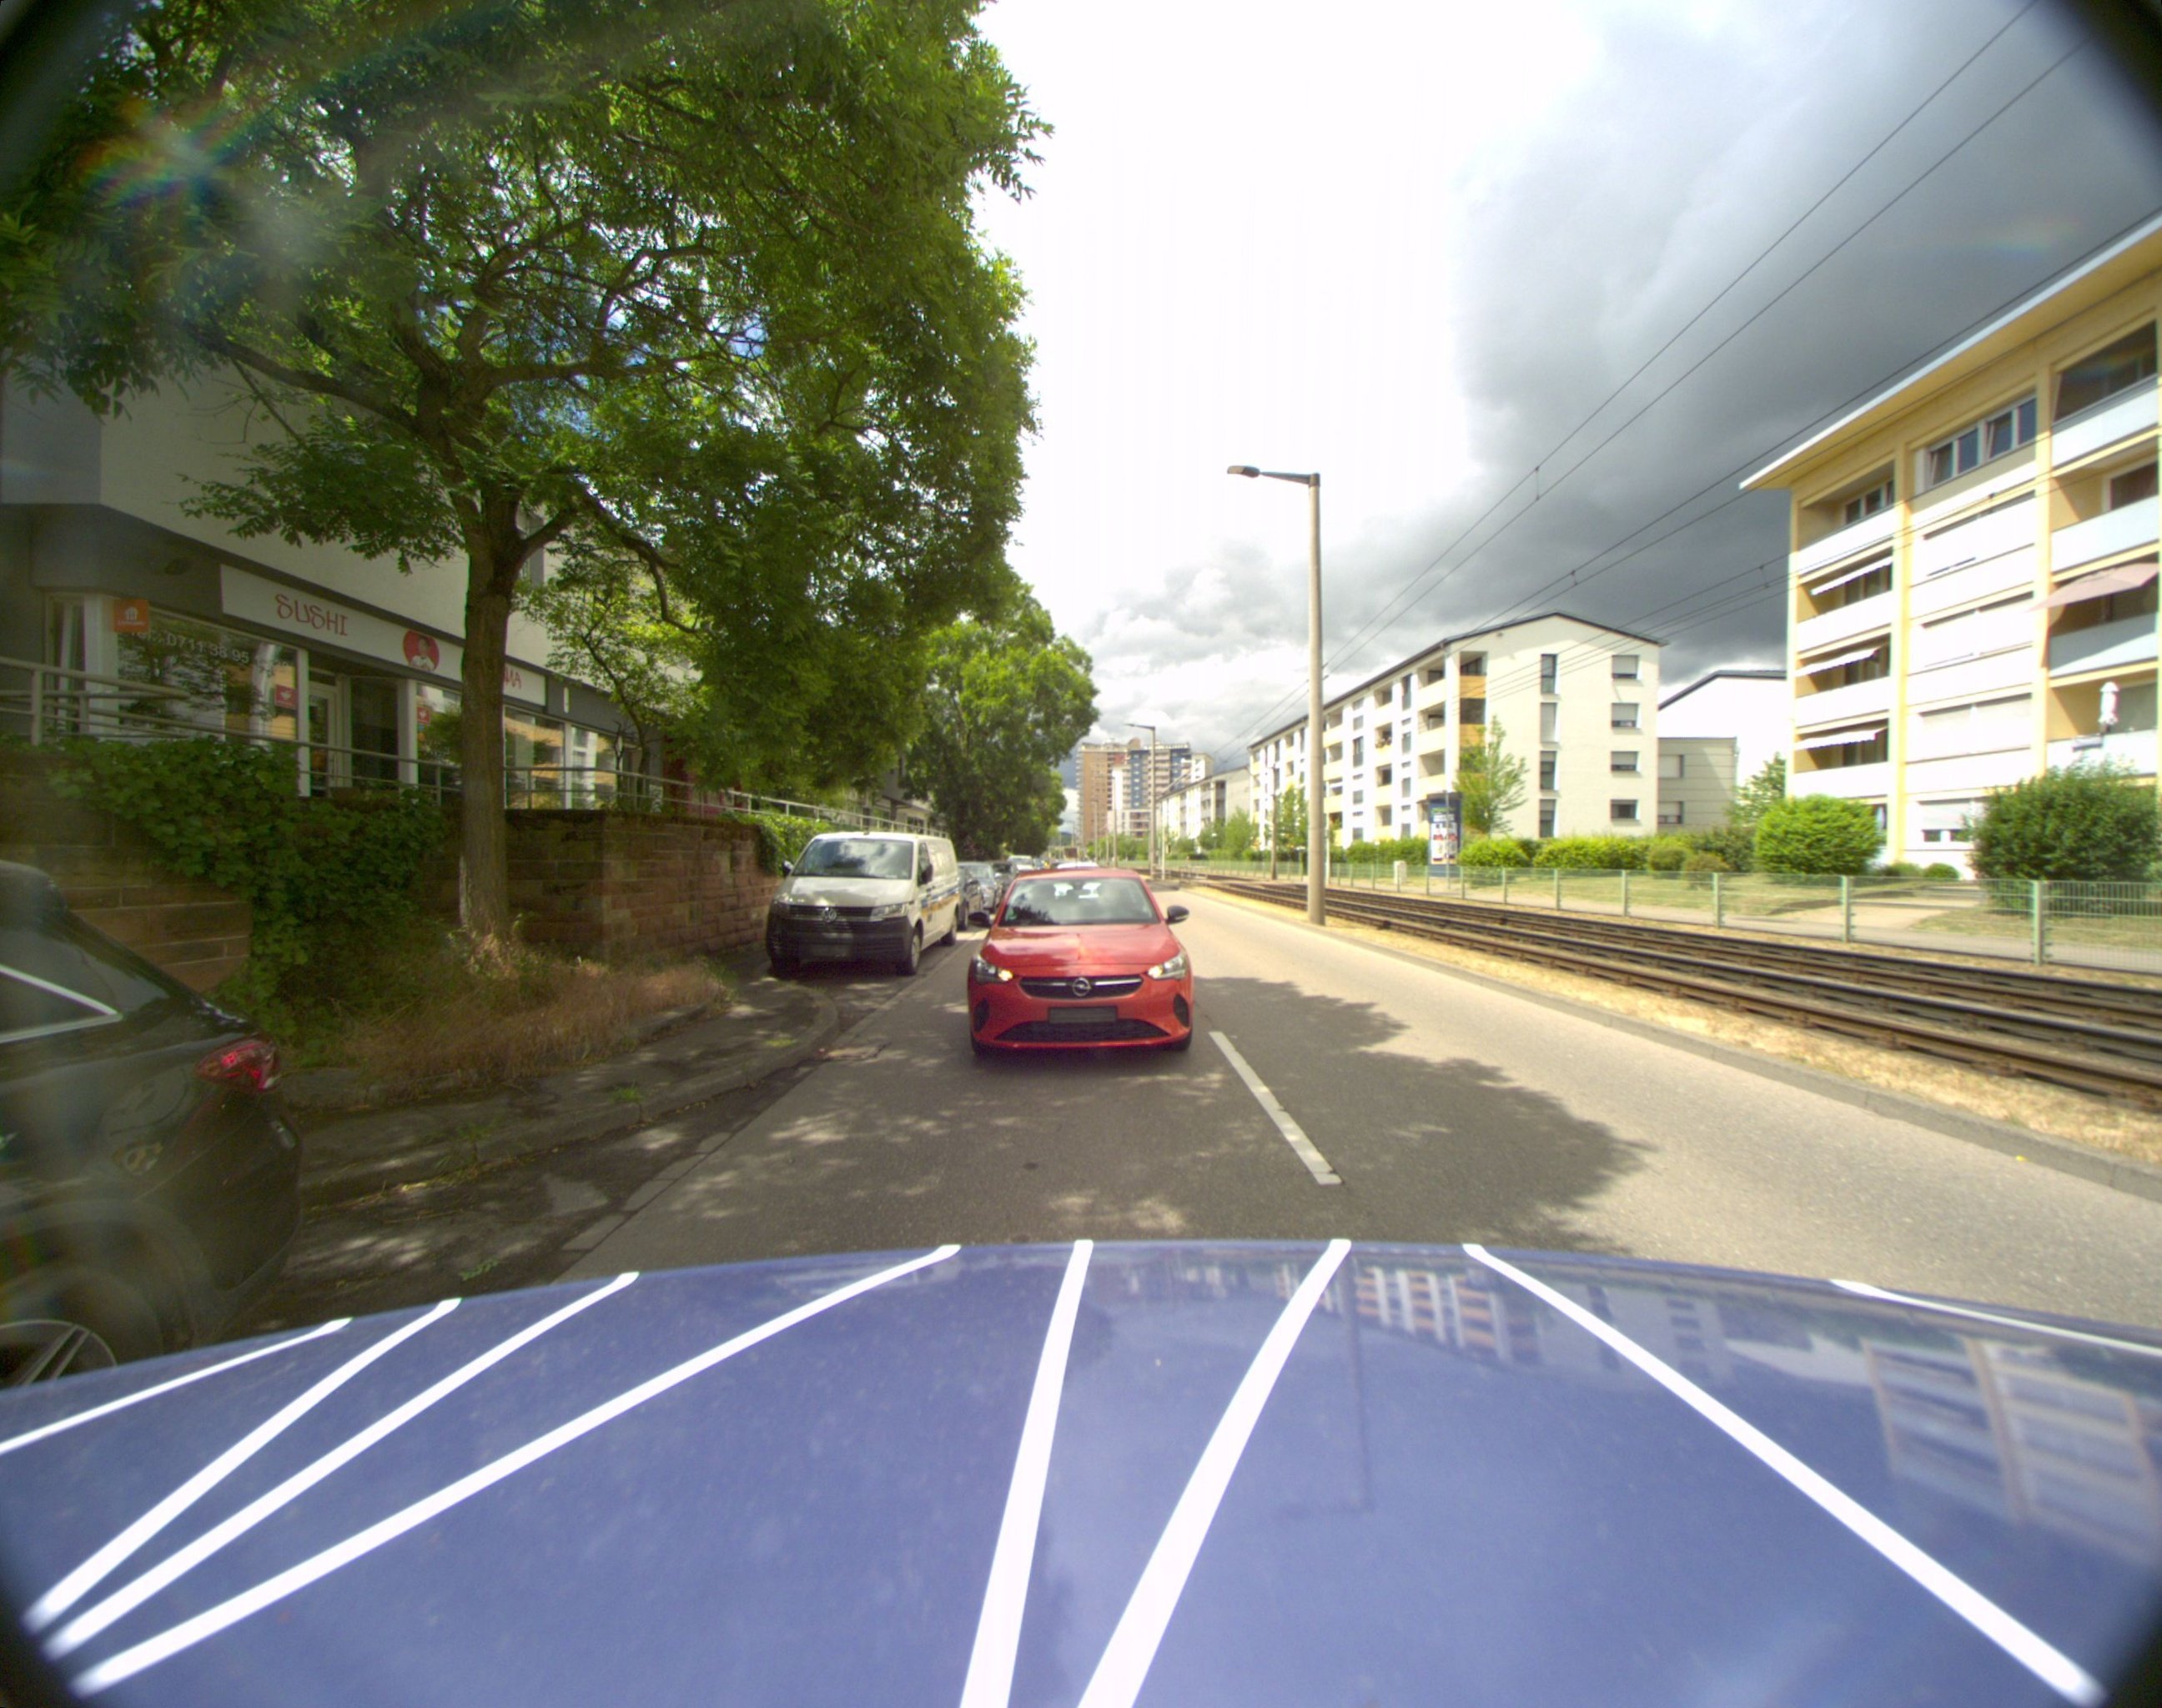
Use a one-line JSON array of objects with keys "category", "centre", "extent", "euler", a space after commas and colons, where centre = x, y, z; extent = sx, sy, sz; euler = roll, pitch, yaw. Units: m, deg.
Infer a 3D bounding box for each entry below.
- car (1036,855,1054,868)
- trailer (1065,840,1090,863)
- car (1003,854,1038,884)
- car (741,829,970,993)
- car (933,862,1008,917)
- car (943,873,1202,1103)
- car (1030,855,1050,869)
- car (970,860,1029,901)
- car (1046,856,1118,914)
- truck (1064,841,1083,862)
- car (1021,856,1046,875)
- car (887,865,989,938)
[{"category": "car", "centre": [-4.077, 0.794, 86.058], "extent": [1.784, 1.420, 4.147], "euler": [0, 0, 0]}, {"category": "trailer", "centre": [-0.704, -0.400, 123.875], "extent": [2.876, 3.428, 14.609], "euler": [-2, 0, -5]}, {"category": "car", "centre": [-3.543, 0.840, 45.024], "extent": [1.819, 1.644, 4.146], "euler": [-1, 1, -2]}, {"category": "car", "centre": [-3.094, 0.690, 11.702], "extent": [1.978, 1.958, 5.013], "euler": [-1, 0, 0]}, {"category": "car", "centre": [-3.207, 0.991, 22.724], "extent": [1.785, 1.420, 4.144], "euler": [0, 0, -2]}, {"category": "car", "centre": [-0.017, 0.945, 7.067], "extent": [1.723, 1.434, 4.000], "euler": [0, 0, 1]}, {"category": "car", "centre": [-4.245, 0.817, 78.948], "extent": [1.784, 1.420, 4.147], "euler": [-1, 0, 0]}, {"category": "car", "centre": [-3.098, 0.980, 29.641], "extent": [1.784, 1.420, 4.147], "euler": [-1, 0, 0]}, {"category": "car", "centre": [-0.063, 0.883, 23.521], "extent": [1.927, 1.543, 3.999], "euler": [-2, 0, -3]}, {"category": "truck", "centre": [-1.359, -0.395, 132.037], "extent": [2.853, 3.428, 4.413], "euler": [-2, 0, -5]}, {"category": "car", "centre": [-3.819, 0.905, 61.636], "extent": [1.784, 1.420, 4.147], "euler": [-1, 0, 0]}, {"category": "car", "centre": [-3.159, 1.007, 17.408], "extent": [1.578, 1.420, 3.734], "euler": [-1, 0, 0]}]
